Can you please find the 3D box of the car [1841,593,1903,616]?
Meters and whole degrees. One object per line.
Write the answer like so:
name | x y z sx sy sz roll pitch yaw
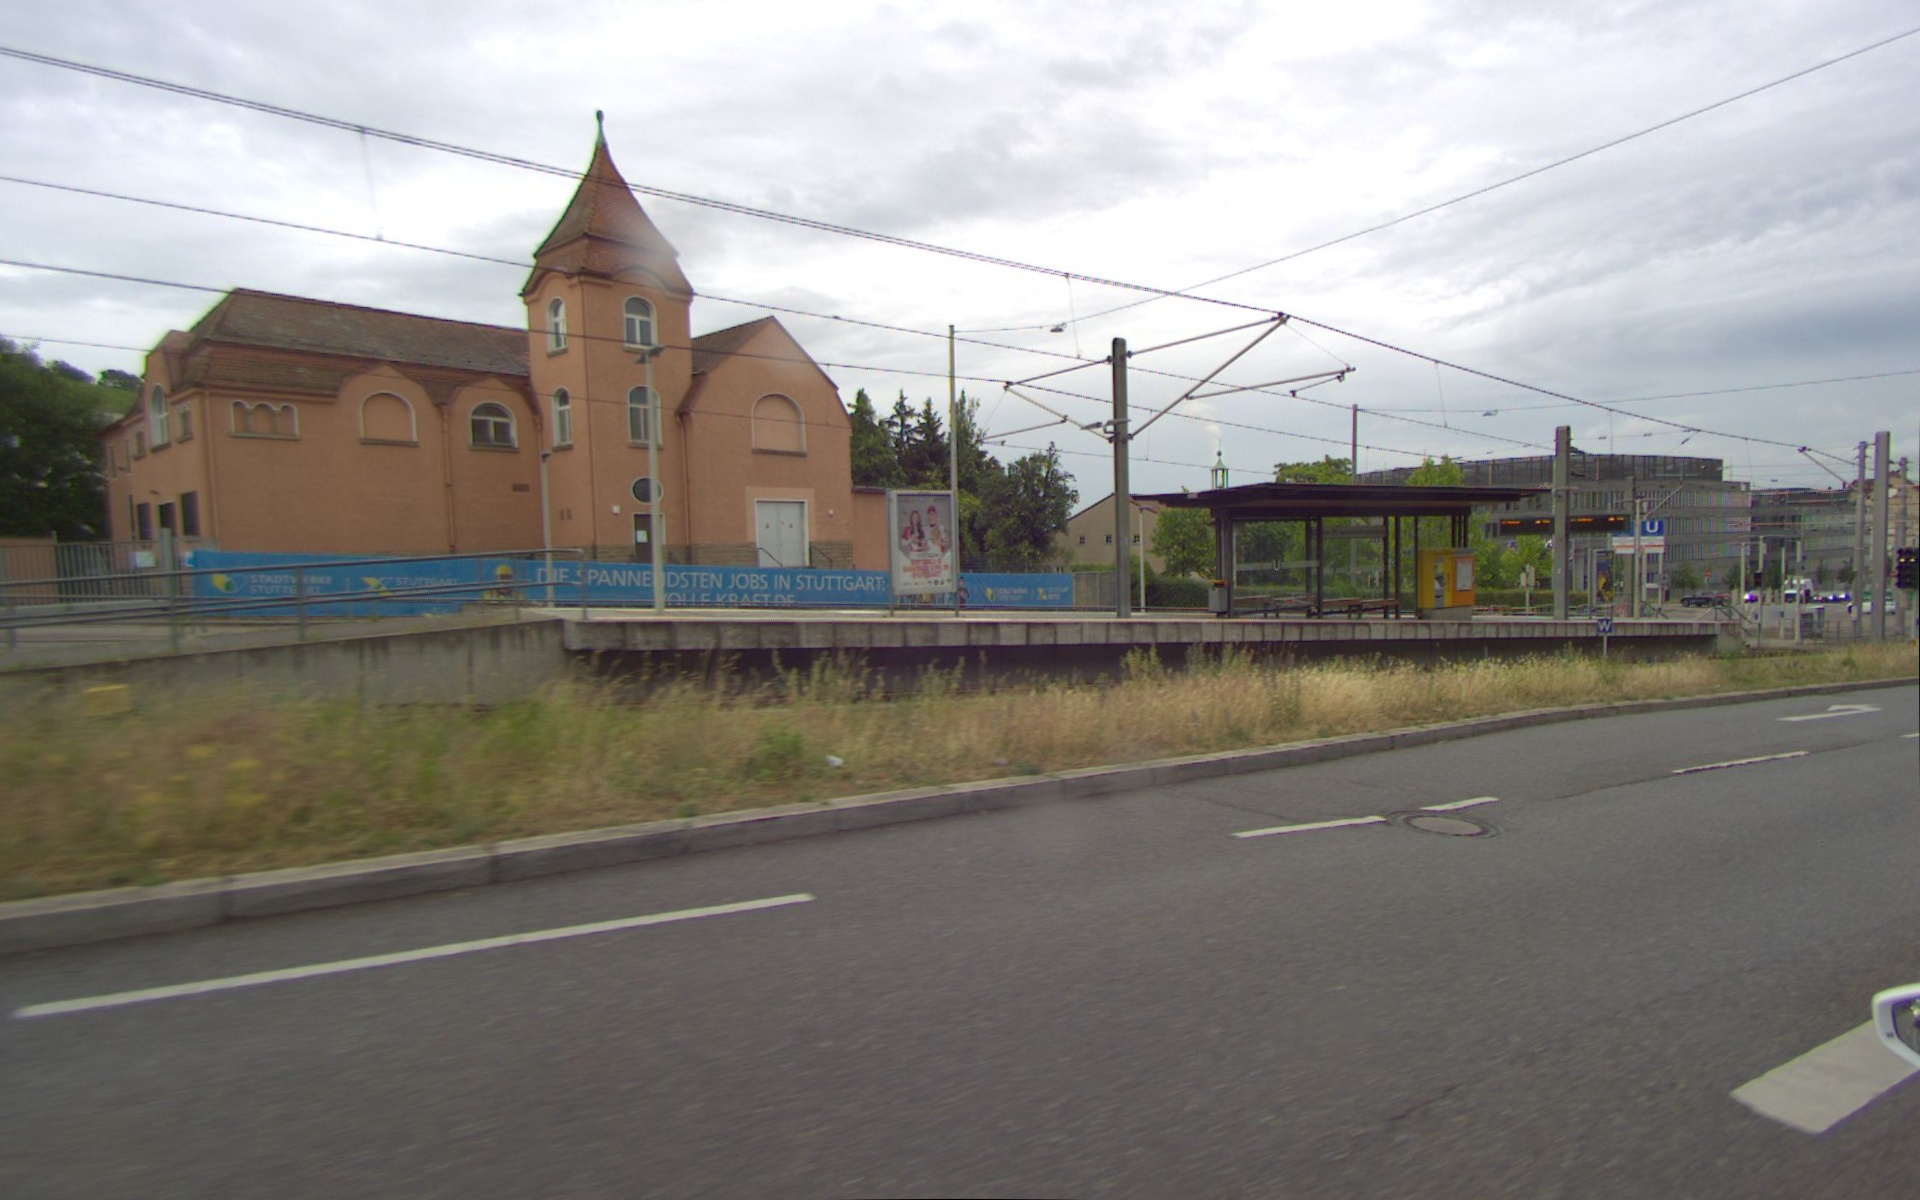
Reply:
car | 76.396 0.332 84.222 1.791 1.628 4.001 1 4 6

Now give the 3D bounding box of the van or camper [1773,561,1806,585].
van or camper | 90.254 -2.899 109.261 3.965 2.376 1.978 0 -1 -38

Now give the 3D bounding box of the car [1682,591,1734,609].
car | 75.262 -0.017 101.148 1.962 1.729 3.996 1 1 -5
